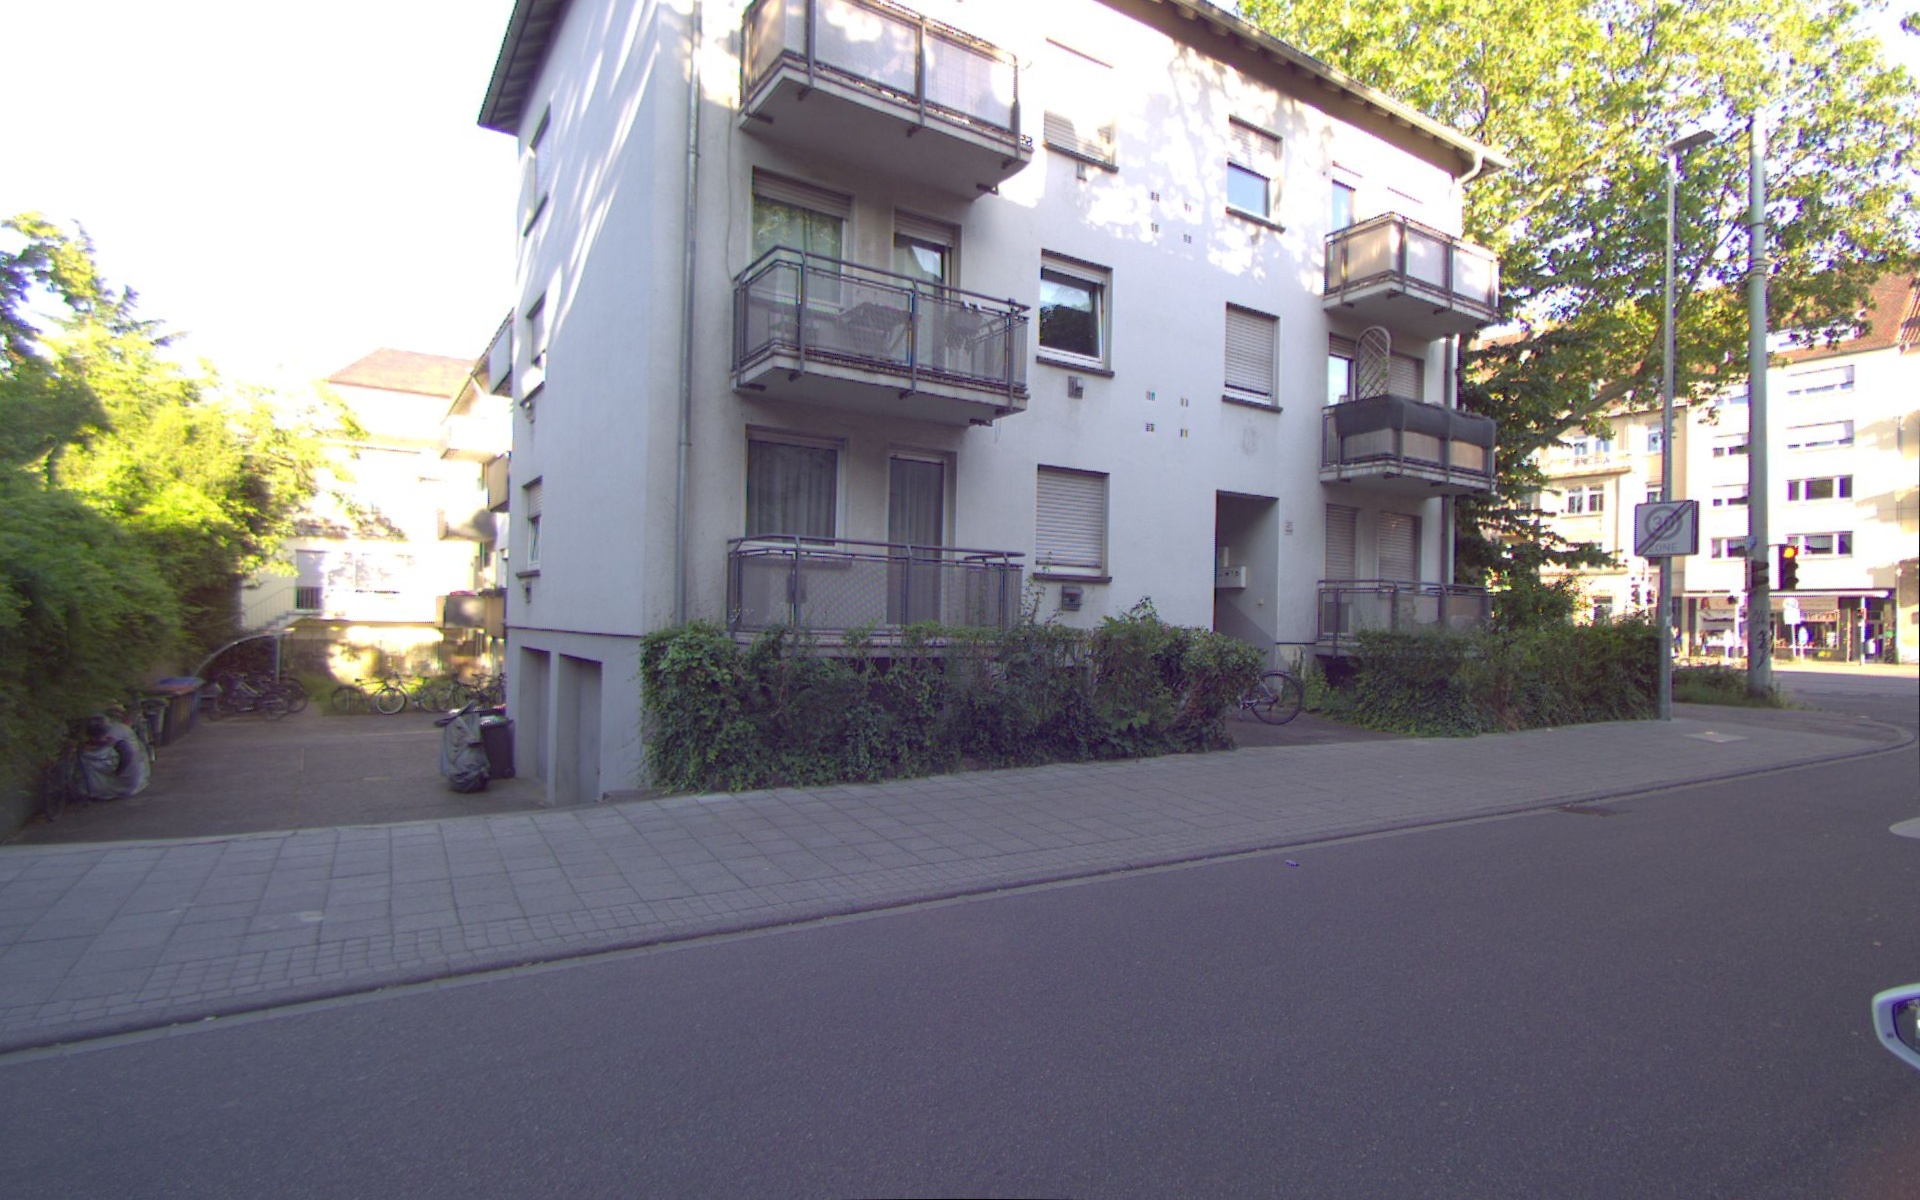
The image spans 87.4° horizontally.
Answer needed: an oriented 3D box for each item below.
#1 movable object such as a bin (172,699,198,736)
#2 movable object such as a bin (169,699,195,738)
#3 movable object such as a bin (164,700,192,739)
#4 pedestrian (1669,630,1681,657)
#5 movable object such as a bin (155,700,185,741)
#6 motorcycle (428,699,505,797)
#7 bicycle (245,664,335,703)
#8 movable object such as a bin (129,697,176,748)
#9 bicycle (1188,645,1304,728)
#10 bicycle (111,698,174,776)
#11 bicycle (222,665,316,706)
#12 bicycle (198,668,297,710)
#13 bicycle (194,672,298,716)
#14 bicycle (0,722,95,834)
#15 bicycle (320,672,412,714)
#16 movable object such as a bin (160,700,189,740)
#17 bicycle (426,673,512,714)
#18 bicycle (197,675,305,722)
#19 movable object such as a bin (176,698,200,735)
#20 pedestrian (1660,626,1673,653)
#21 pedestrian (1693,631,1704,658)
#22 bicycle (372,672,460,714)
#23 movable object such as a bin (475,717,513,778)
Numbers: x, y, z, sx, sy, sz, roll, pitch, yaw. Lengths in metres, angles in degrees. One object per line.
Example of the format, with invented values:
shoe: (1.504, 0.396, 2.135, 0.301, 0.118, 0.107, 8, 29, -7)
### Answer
movable object such as a bin: (-16.411, 2.484, 21.282, 0.362, 0.768, 0.361, 2, -4, -30)
movable object such as a bin: (-16.219, 2.465, 20.941, 0.362, 0.768, 0.361, 2, -4, -30)
movable object such as a bin: (-16.031, 2.445, 20.593, 0.371, 0.768, 0.361, 2, -4, -30)
pedestrian: (41.654, 2.512, 58.508, 0.501, 1.531, 0.535, 0, -1, 33)
movable object such as a bin: (-15.651, 2.386, 19.915, 0.393, 0.784, 0.361, 2, -4, -30)
motorcycle: (-7.400, 2.168, 15.028, 0.751, 1.268, 1.577, 1, -2, -36)
bicycle: (-19.027, 2.375, 28.562, 2.045, 1.034, 0.564, 4, 0, -30)
movable object such as a bin: (-14.958, 2.259, 18.620, 0.570, 0.891, 0.491, 2, -4, -30)
bicycle: (3.875, 1.153, 13.615, 1.433, 0.988, 0.407, 3, 0, 21)
bicycle: (-13.229, 2.181, 16.292, 0.509, 1.033, 1.922, 3, -1, -32)
bicycle: (-19.004, 2.371, 27.690, 2.045, 1.034, 0.611, 4, 0, -30)
bicycle: (-18.869, 2.369, 26.653, 2.045, 1.034, 0.611, 4, 0, -30)
bicycle: (-18.037, 2.388, 25.426, 2.045, 1.034, 0.568, 4, 0, -30)
bicycle: (-10.970, 2.094, 12.088, 0.509, 1.033, 1.922, 3, -1, -32)
bicycle: (-15.702, 2.464, 26.611, 2.045, 1.034, 0.637, 4, 0, -30)
movable object such as a bin: (-15.832, 2.411, 20.252, 0.377, 0.784, 0.361, 2, -4, -30)
bicycle: (-13.599, 2.596, 27.848, 2.045, 1.034, 0.637, 4, 0, -30)
bicycle: (-17.285, 2.406, 24.548, 2.045, 1.034, 0.637, 4, 0, -30)
movable object such as a bin: (-16.611, 2.509, 21.618, 0.342, 0.768, 0.361, 2, -4, -30)
pedestrian: (40.633, 2.264, 57.805, 0.558, 1.531, 0.499, 0, -1, 41)
pedestrian: (42.038, 2.507, 57.165, 0.467, 1.531, 0.429, 0, -1, 41)
bicycle: (-14.714, 2.529, 27.196, 2.045, 1.034, 0.637, 4, 0, -30)
movable object such as a bin: (-7.508, 2.364, 16.182, 0.428, 0.899, 0.720, 1, -2, -34)
